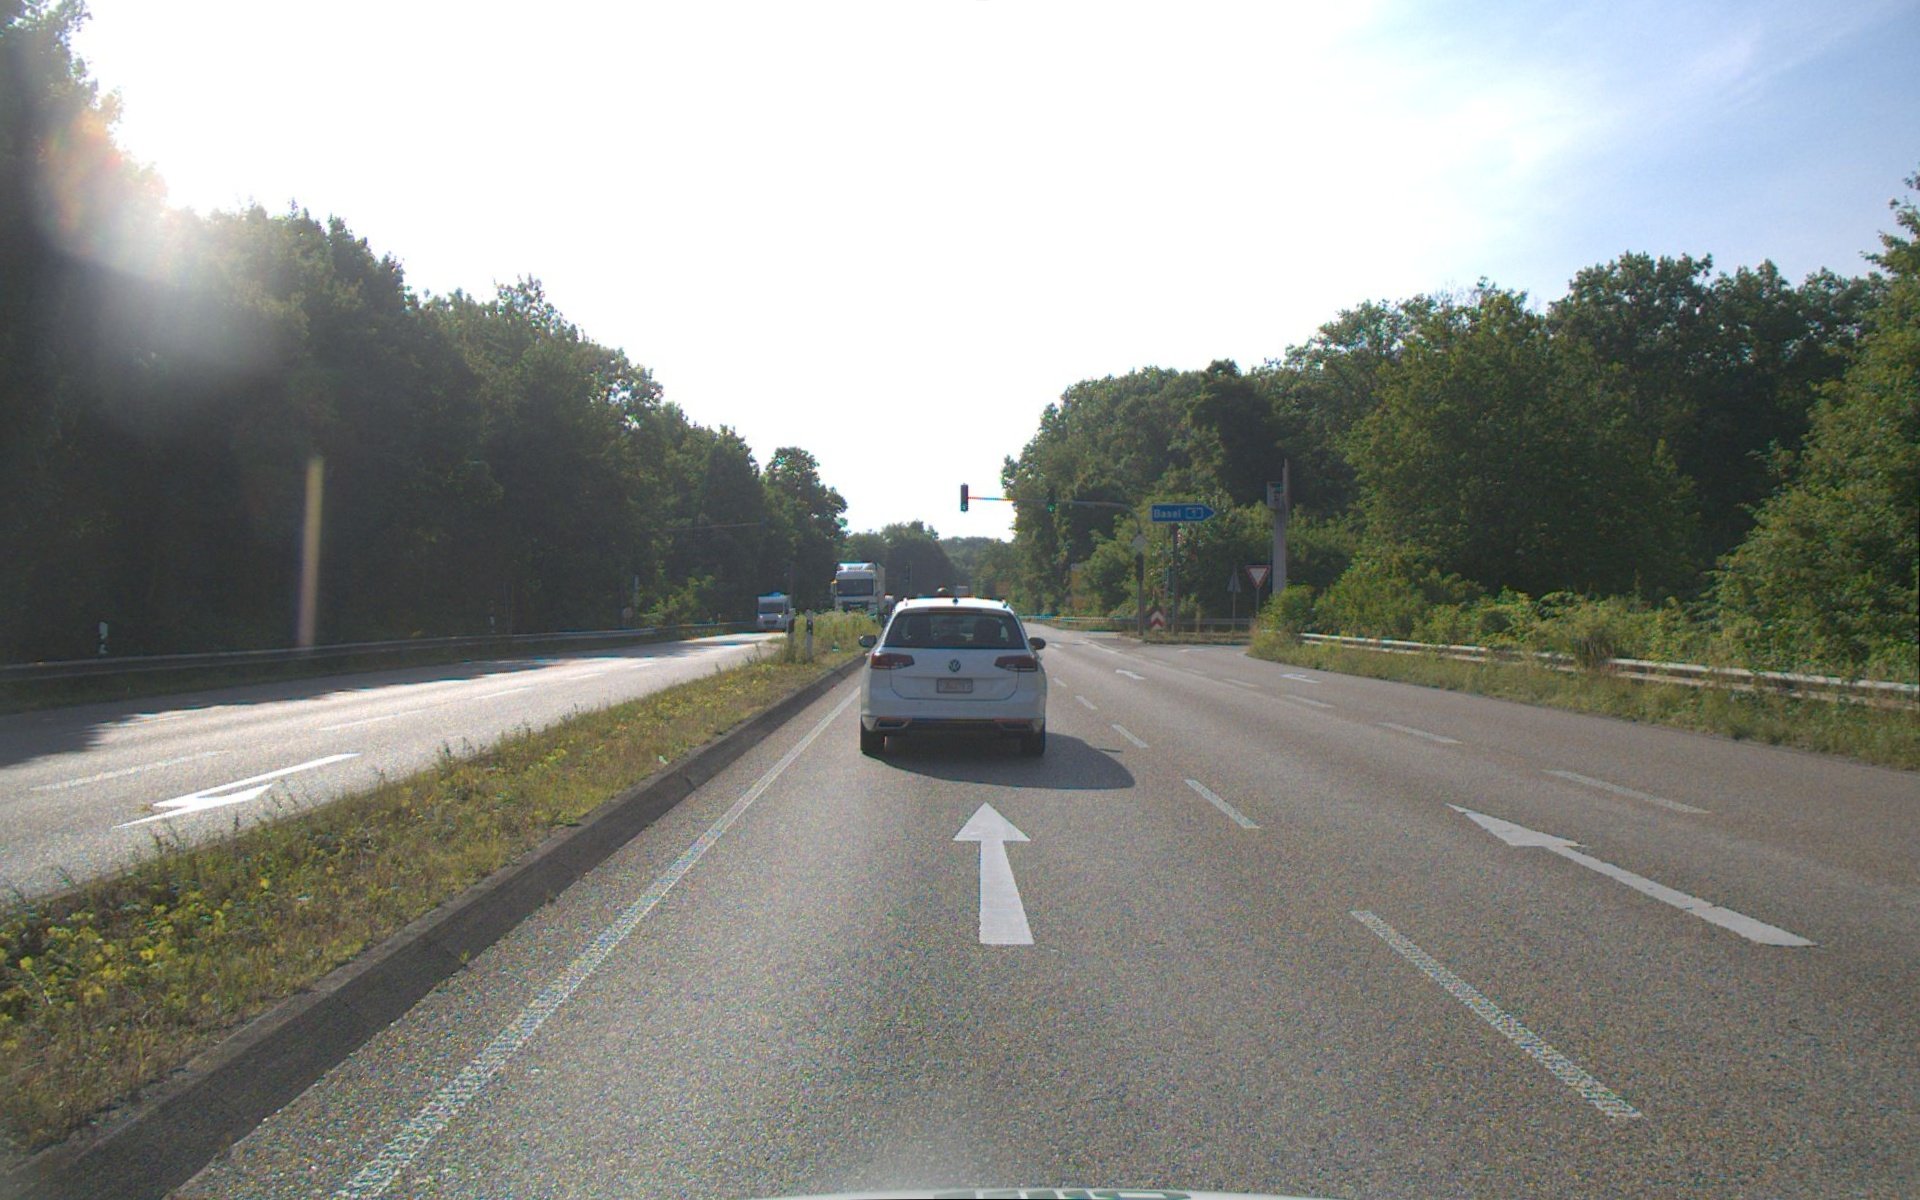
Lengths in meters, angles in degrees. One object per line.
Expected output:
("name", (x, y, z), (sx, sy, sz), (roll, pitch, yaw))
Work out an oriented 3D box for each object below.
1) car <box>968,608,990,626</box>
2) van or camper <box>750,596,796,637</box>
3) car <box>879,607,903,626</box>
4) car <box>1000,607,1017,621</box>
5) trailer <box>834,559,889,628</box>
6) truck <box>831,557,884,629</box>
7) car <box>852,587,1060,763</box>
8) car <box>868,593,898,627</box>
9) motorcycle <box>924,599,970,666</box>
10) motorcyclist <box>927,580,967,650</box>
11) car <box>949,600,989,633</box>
("car", (1.563, 1.396, 134.785), (1.725, 1.404, 3.972), (1, 0, 1))
("van or camper", (-13.360, 1.184, 118.486), (2.364, 2.758, 6.436), (-3, 0, 0))
("car", (-5.776, 1.359, 139.164), (1.724, 1.482, 5.185), (-1, 0, 0))
("car", (5.236, 1.514, 179.556), (1.725, 1.404, 3.972), (-1, 0, 1))
("trailer", (-6.204, -0.361, 106.153), (2.931, 4.066, 14.010), (1, 0, -1))
("truck", (-6.062, -0.394, 98.414), (2.832, 4.067, 6.719), (1, 0, -2))
("car", (-0.015, 0.671, 17.050), (1.831, 1.548, 4.834), (0, 0, 0))
("car", (-6.154, 0.813, 132.356), (2.032, 2.578, 6.163), (-1, 0, 0))
("motorcycle", (-0.292, 0.741, 39.412), (0.890, 1.479, 2.689), (-3, 0, 2))
("motorcyclist", (-0.298, 0.355, 39.546), (0.865, 1.644, 1.290), (1, 0, 2))
("car", (0.435, 0.739, 74.481), (1.725, 1.404, 3.972), (1, 0, 1))
